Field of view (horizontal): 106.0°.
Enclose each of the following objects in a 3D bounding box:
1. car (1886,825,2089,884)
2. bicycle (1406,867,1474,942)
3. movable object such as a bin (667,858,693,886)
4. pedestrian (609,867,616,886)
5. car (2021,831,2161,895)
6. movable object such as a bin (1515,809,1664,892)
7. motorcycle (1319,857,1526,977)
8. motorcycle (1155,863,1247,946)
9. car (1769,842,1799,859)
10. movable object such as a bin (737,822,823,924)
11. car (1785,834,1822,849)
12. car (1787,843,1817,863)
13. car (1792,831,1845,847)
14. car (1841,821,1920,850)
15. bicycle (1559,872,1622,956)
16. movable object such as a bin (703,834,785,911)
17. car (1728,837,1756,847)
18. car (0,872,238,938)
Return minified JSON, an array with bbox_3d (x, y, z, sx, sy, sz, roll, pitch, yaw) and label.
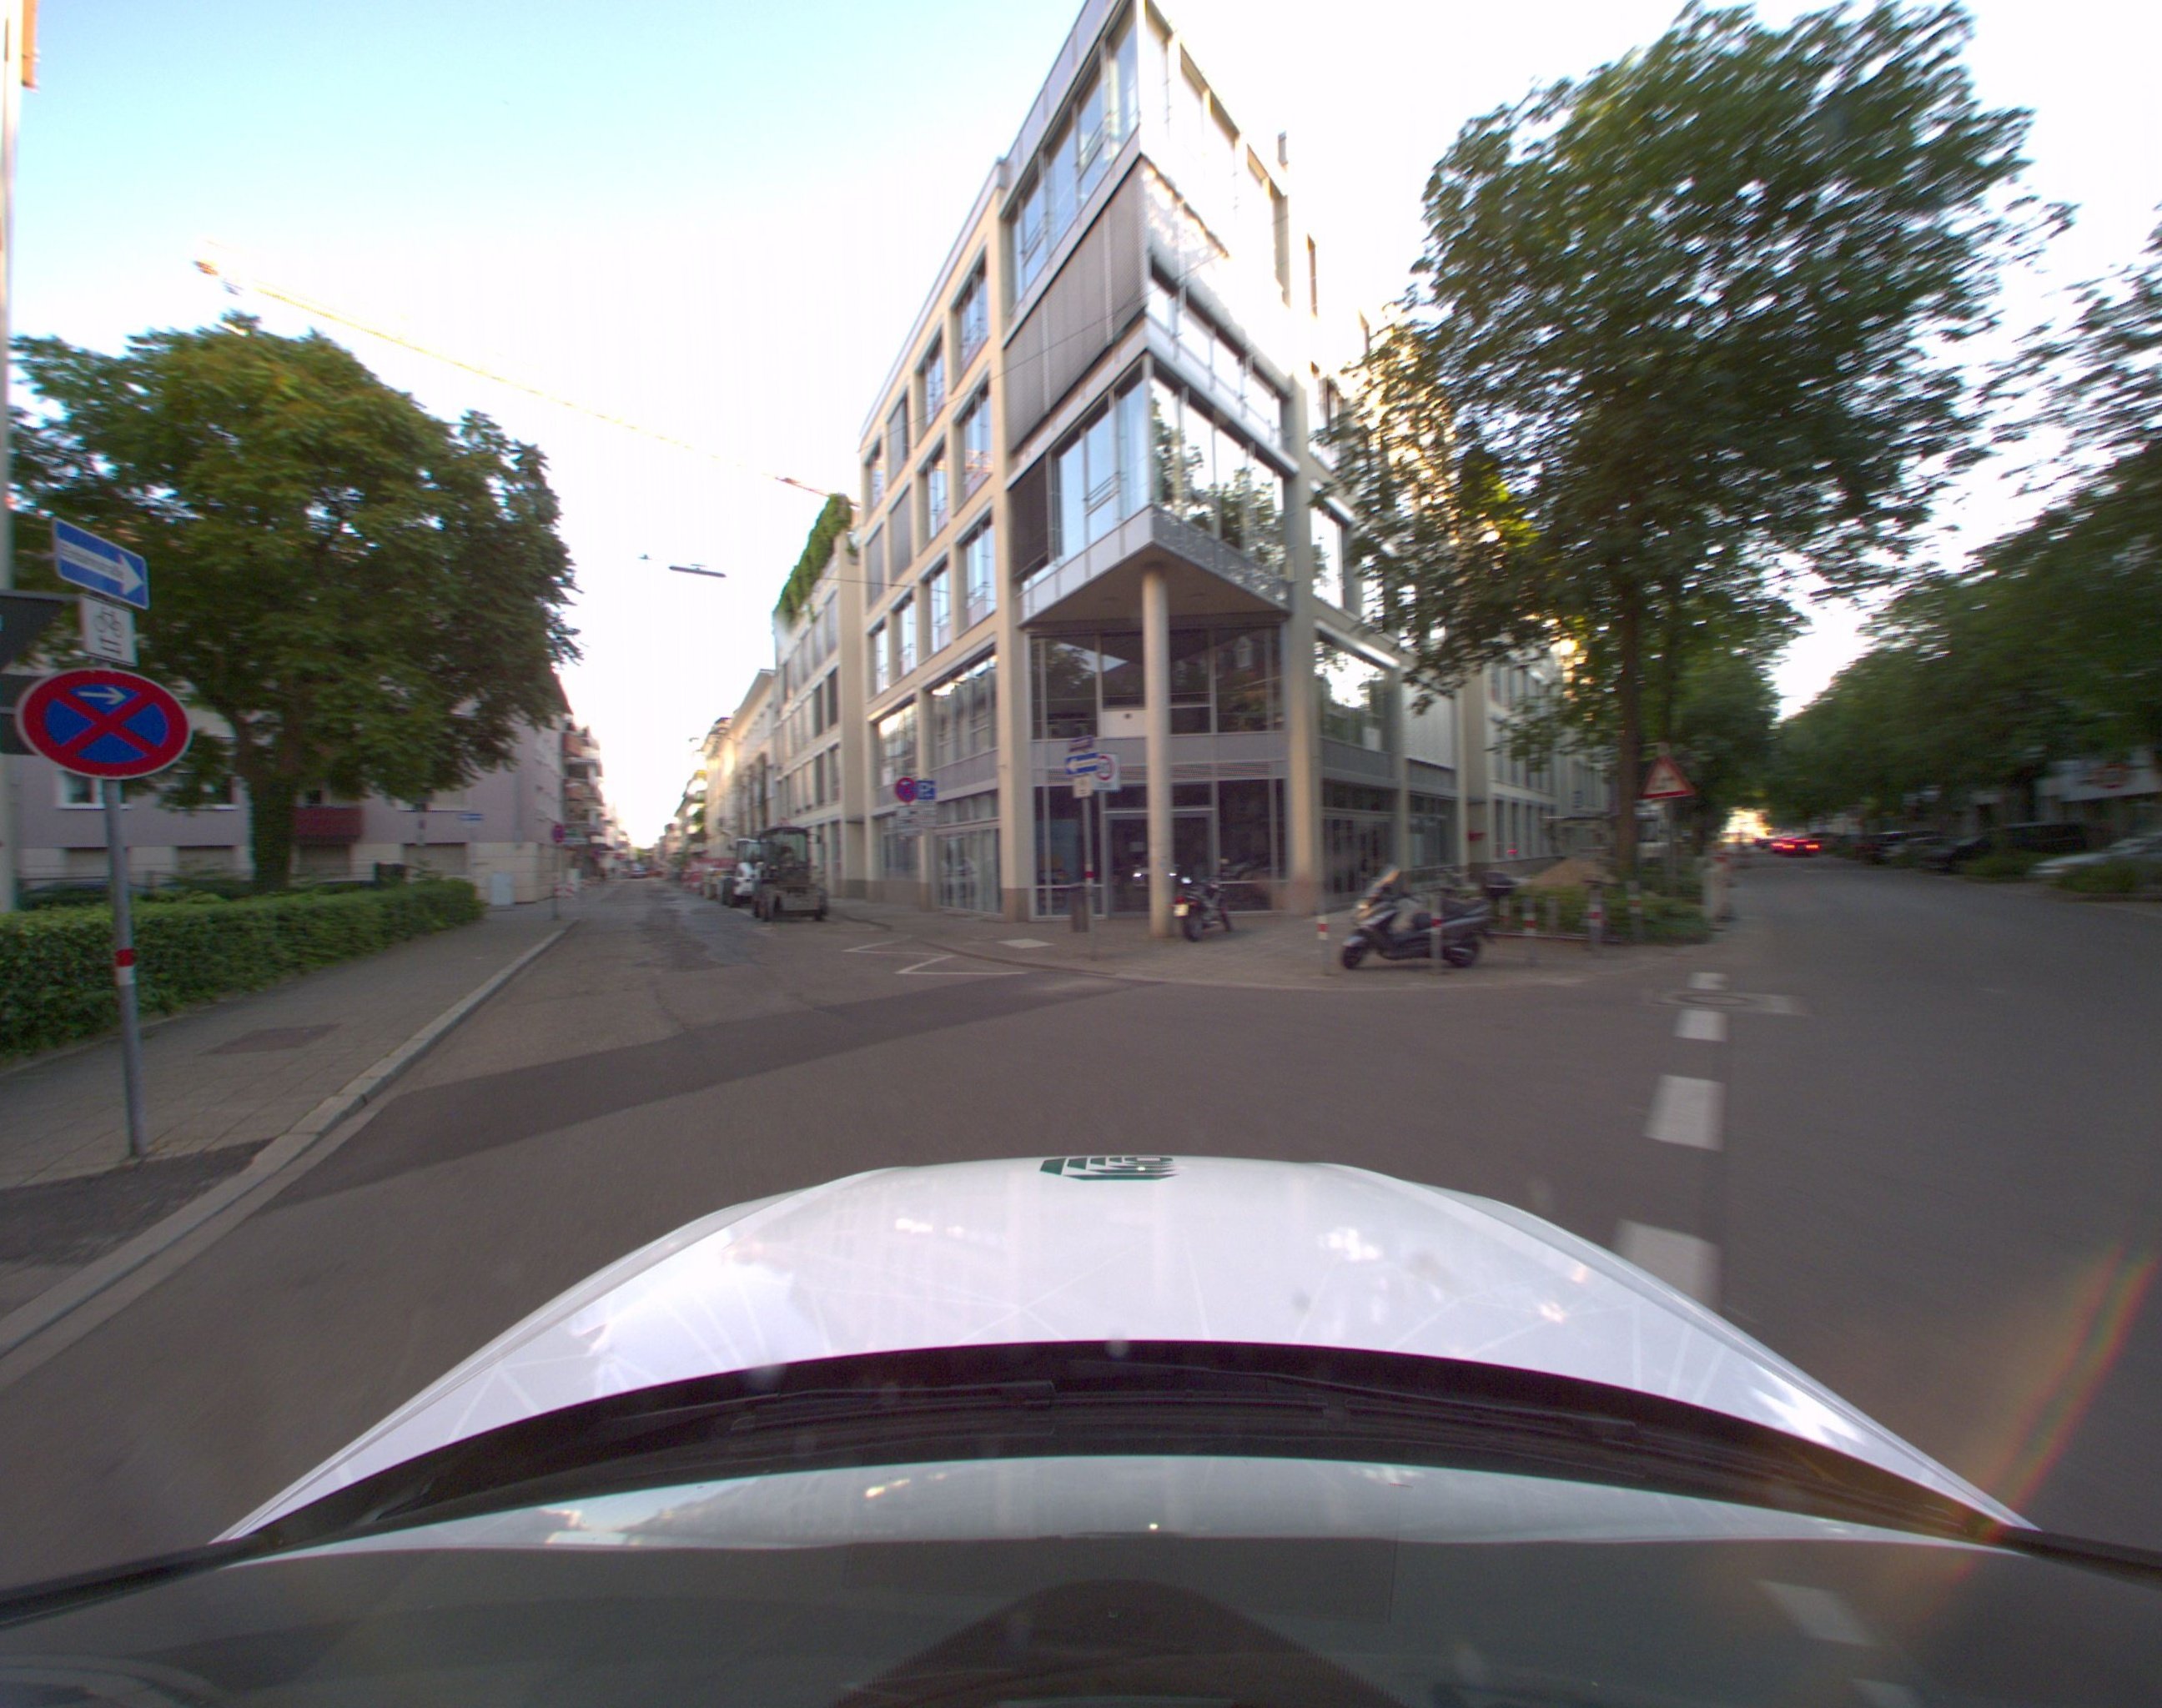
[{"bbox_3d":[34.515,0.061,31.244,4.923,2.087,1.749,-2,0,38],"label":"car"},{"bbox_3d":[6.171,0.828,13.946,0.595,1.118,1.811,-2,0,38],"label":"bicycle"},{"bbox_3d":[-47.119,2.049,95.599,2.485,3.131,4.257,0,0,-29],"label":"movable object such as a bin"},{"bbox_3d":[-48.871,2.341,84.945,0.658,1.886,0.568,-1,0,-33],"label":"pedestrian"},{"bbox_3d":[27.523,0.221,20.787,4.394,1.591,1.639,-2,-1,40],"label":"car"},{"bbox_3d":[15.628,-0.078,25.040,3.629,2.333,2.600,-2,0,37],"label":"movable object such as a bin"},{"bbox_3d":[4.434,0.793,10.673,2.365,1.440,0.801,-1,0,-2],"label":"motorcycle"},{"bbox_3d":[2.164,0.851,14.418,0.608,1.274,2.140,-1,1,37],"label":"motorcycle"},{"bbox_3d":[64.701,-0.314,74.983,1.797,1.432,3.960,-1,0,37],"label":"car"},{"bbox_3d":[-8.755,0.515,23.493,1.806,2.634,4.074,-2,0,-27],"label":"movable object such as a bin"},{"bbox_3d":[107.850,-1.853,121.625,3.948,2.013,2.013,-2,0,40],"label":"car"},{"bbox_3d":[56.615,-0.089,63.997,1.486,1.416,3.737,-2,0,38],"label":"car"},{"bbox_3d":[79.351,-1.593,87.662,3.948,1.597,2.013,-1,0,35],"label":"car"},{"bbox_3d":[59.767,-1.332,60.989,3.948,2.013,2.013,-2,0,37],"label":"car"},{"bbox_3d":[7.844,0.876,12.504,0.595,1.118,1.811,-2,0,38],"label":"bicycle"},{"bbox_3d":[-12.810,0.671,30.724,2.179,2.596,5.490,-1,-1,-29],"label":"movable object such as a bin"},{"bbox_3d":[128.784,-2.366,158.654,3.949,1.914,1.788,-1,0,30],"label":"car"},{"bbox_3d":[-27.938,1.415,23.647,4.395,1.640,1.812,-1,0,-28],"label":"car"}]
